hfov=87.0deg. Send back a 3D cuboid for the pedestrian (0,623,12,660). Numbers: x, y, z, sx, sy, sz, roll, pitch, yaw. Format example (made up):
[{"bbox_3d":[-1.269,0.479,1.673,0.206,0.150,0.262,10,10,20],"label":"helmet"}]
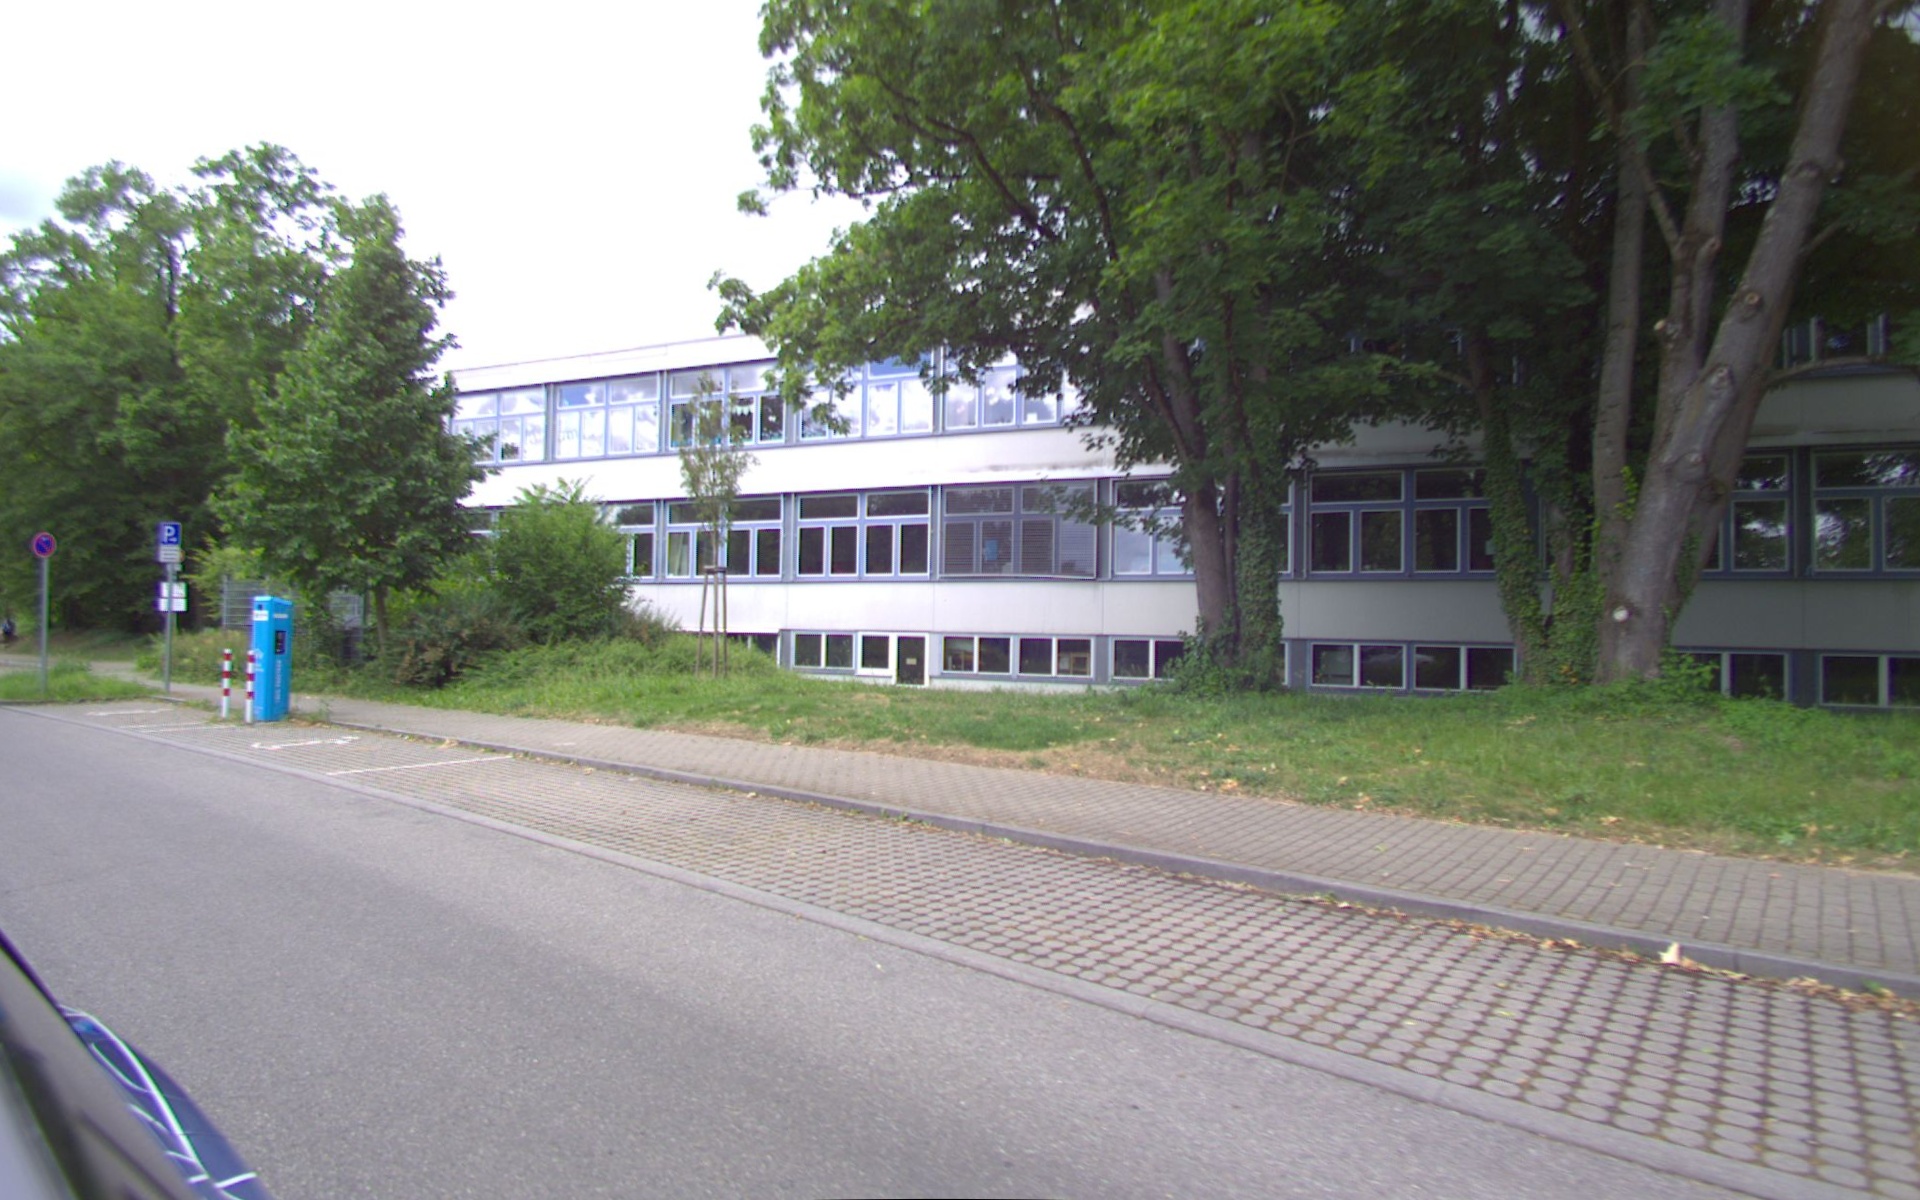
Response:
[{"bbox_3d":[-43.144,1.864,45.353,0.807,1.675,0.753,-2,-3,34],"label":"pedestrian"}]
